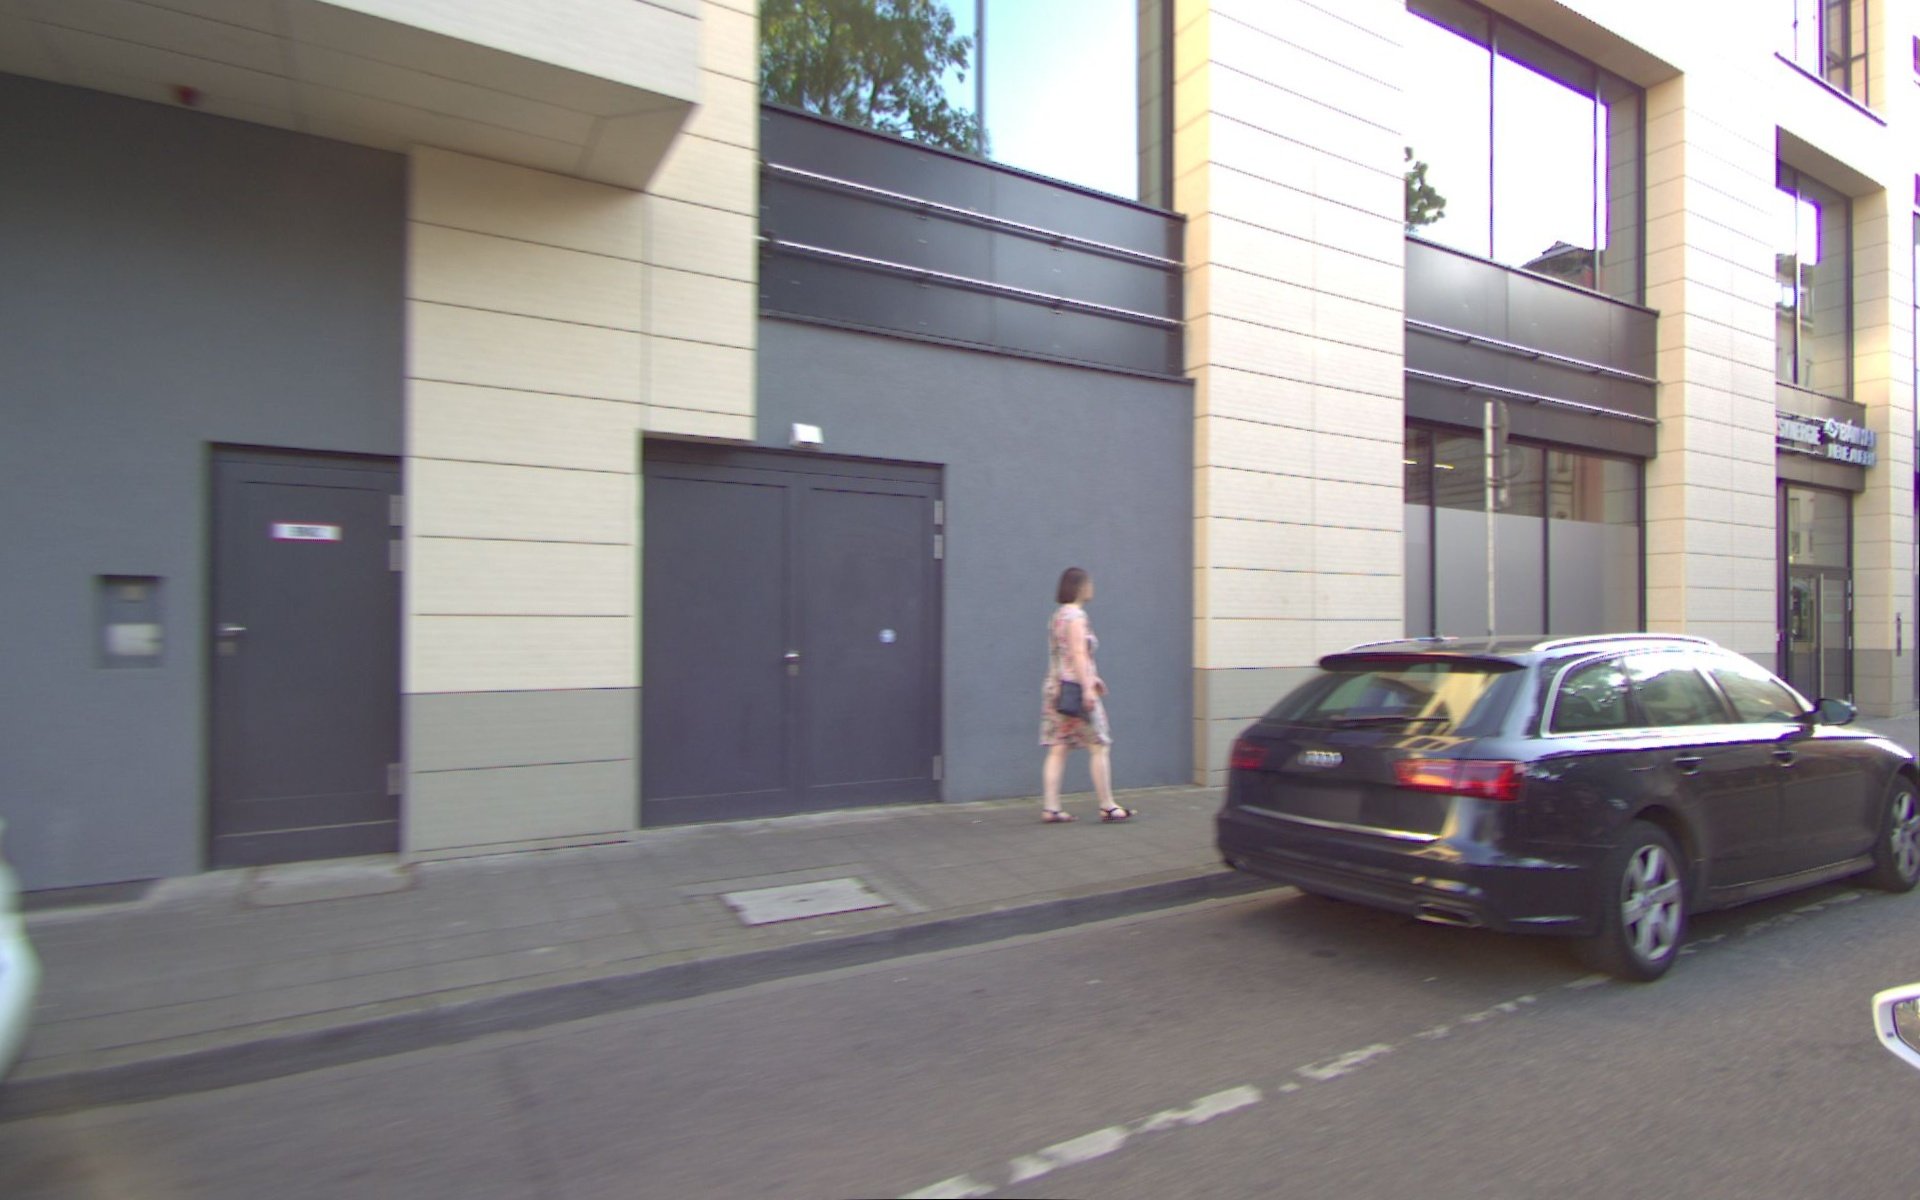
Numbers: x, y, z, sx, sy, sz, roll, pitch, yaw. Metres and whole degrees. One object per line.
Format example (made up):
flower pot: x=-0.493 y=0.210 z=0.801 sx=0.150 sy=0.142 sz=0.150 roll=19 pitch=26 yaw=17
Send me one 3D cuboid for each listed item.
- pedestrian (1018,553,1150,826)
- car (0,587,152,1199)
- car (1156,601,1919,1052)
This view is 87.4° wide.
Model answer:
pedestrian: x=0.851 y=0.589 z=6.963 sx=0.640 sy=1.767 sz=0.669 roll=0 pitch=-1 yaw=-30
car: x=-3.993 y=0.705 z=1.449 sx=4.183 sy=1.472 sz=1.768 roll=1 pitch=-1 yaw=-32
car: x=3.467 y=0.844 z=5.635 sx=4.636 sy=1.619 sz=1.874 roll=1 pitch=-1 yaw=-32
